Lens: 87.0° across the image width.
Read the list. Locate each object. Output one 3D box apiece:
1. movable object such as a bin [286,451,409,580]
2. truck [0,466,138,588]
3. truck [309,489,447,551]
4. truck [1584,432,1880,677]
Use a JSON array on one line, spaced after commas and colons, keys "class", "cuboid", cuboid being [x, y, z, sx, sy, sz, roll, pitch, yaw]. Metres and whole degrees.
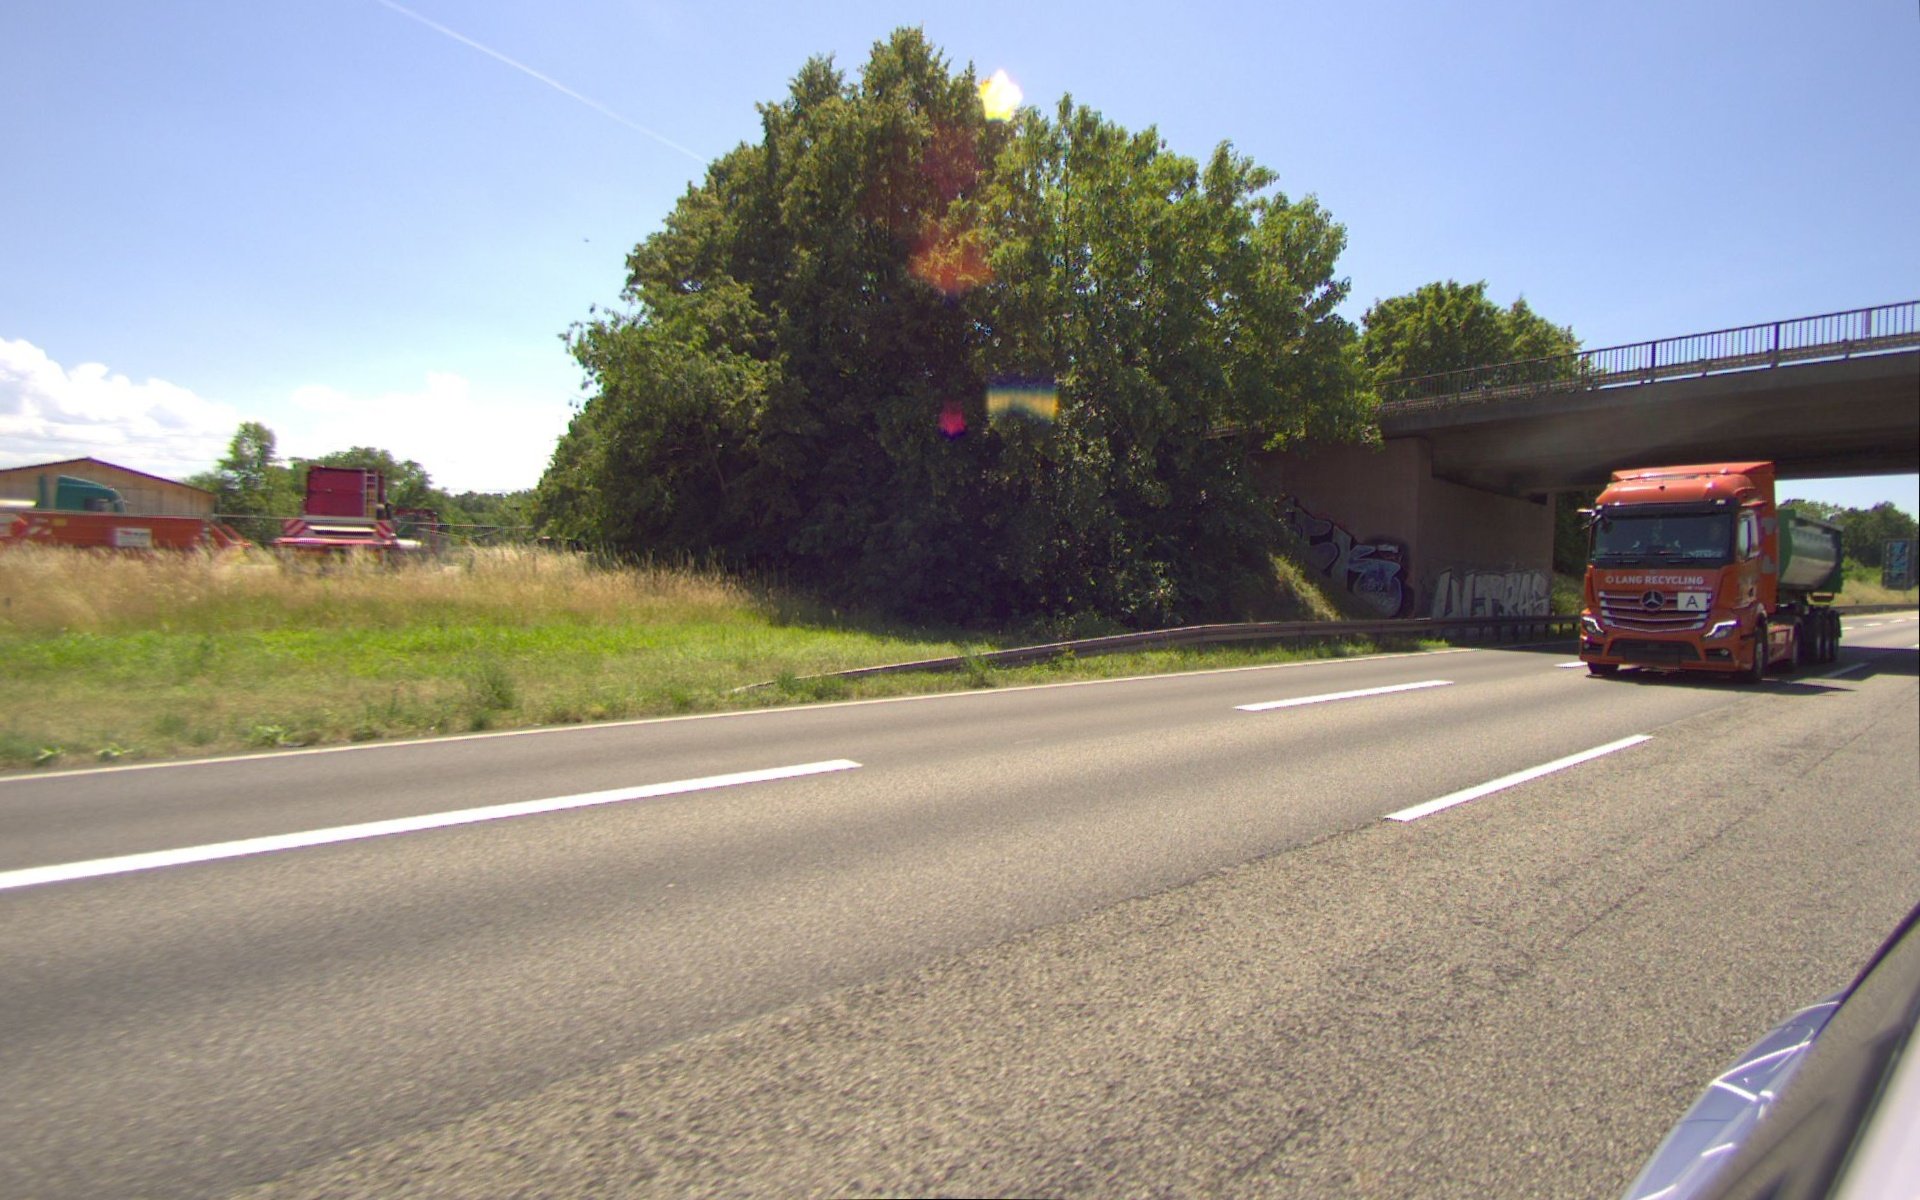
[{"class": "movable object such as a bin", "cuboid": [-23.286, -3.008, 38.566, 3.739, 4.365, 5.935, 0, 0, -31]}, {"class": "truck", "cuboid": [-45.667, -3.239, 43.447, 15.884, 5.292, 3.139, 0, 0, -36]}, {"class": "truck", "cuboid": [-37.342, -5.010, 65.756, 3.578, 2.983, 13.525, 0, 0, -11]}, {"class": "truck", "cuboid": [16.457, -0.726, 20.973, 12.263, 3.846, 2.685, 0, 0, -42]}]
